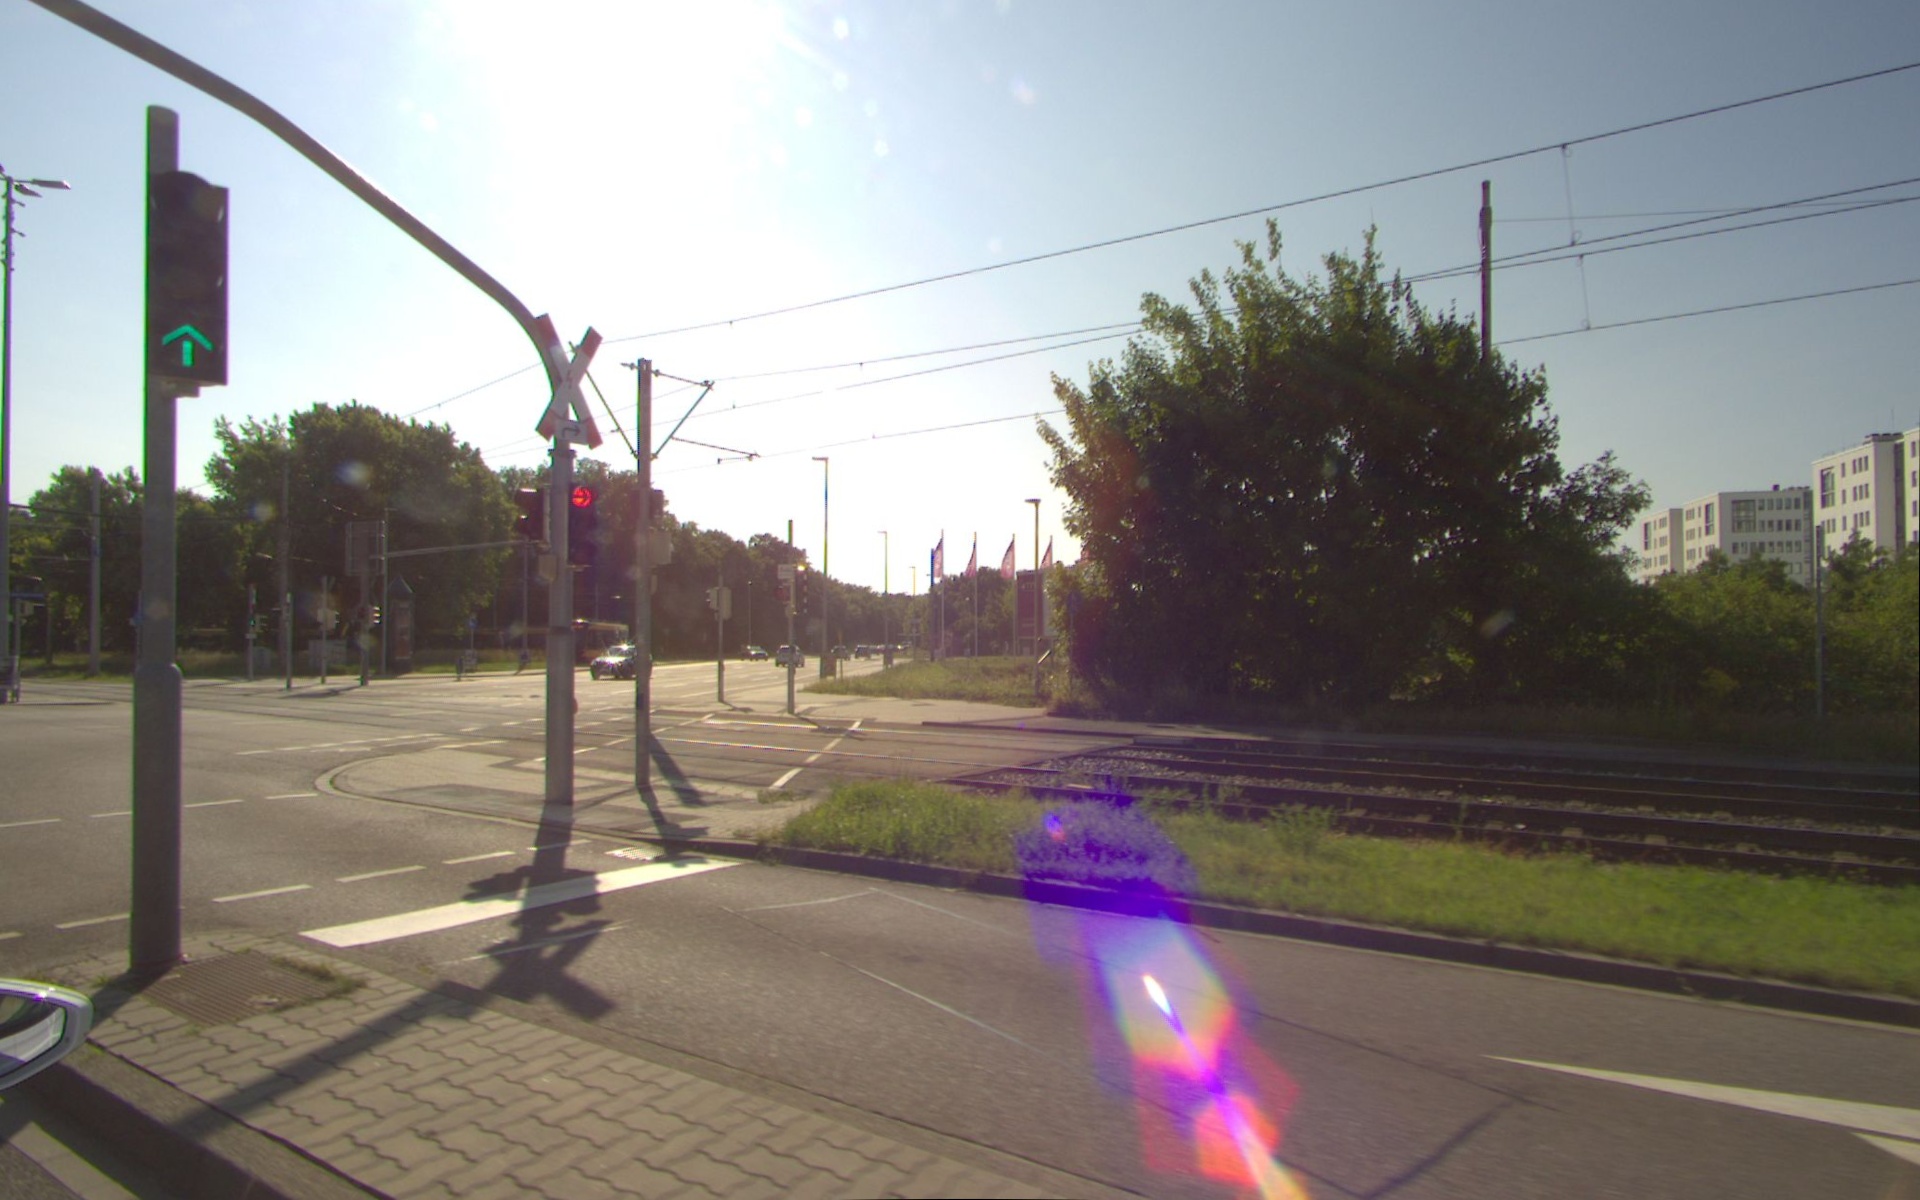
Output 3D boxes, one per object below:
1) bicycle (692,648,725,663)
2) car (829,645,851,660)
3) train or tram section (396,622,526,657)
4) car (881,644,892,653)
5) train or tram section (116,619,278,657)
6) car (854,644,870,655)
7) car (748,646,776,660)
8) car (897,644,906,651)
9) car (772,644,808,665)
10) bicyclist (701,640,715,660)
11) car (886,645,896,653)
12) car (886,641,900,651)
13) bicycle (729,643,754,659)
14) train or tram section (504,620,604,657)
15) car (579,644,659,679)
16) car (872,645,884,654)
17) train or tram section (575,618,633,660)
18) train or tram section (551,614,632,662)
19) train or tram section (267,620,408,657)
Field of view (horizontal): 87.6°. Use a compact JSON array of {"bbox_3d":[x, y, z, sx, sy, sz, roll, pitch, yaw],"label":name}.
[{"bbox_3d":[-26.023,5.728,103.584,3.167,1.472,1.131,0,-3,9],"label":"bicycle"},{"bbox_3d":[-12.538,5.475,104.664,1.575,1.401,3.531,0,-2,5],"label":"car"},{"bbox_3d":[-52.541,4.147,105.631,11.992,3.624,3.056,0,-2,-2],"label":"train or tram section"},{"bbox_3d":[-12.682,8.415,173.585,1.575,1.401,3.532,0,-2,2],"label":"car"},{"bbox_3d":[-74.858,3.762,98.662,12.256,3.624,3.041,1,-2,-28],"label":"train or tram section"},{"bbox_3d":[-12.137,6.133,124.627,1.575,1.401,3.531,0,-2,2],"label":"car"},{"bbox_3d":[-19.762,5.291,100.130,1.715,1.351,4.310,0,-2,3],"label":"car"},{"bbox_3d":[-12.942,10.482,220.848,1.575,1.401,3.532,0,-2,2],"label":"car"},{"bbox_3d":[-13.161,4.219,77.693,1.820,1.582,4.207,0,-2,3],"label":"car"},{"bbox_3d":[-26.069,5.137,103.615,1.078,2.038,1.141,0,-3,8],"label":"bicyclist"},{"bbox_3d":[-12.616,8.926,183.252,1.575,1.401,3.532,0,-2,2],"label":"car"},{"bbox_3d":[-13.551,9.290,202.783,2.397,2.103,4.790,0,-2,2],"label":"car"},{"bbox_3d":[-24.127,5.639,110.590,2.562,1.734,0.795,1,-2,-5],"label":"bicycle"},{"bbox_3d":[-41.509,3.963,102.127,12.057,3.624,3.039,-1,-2,32],"label":"train or tram section"},{"bbox_3d":[-16.657,2.980,49.153,2.004,1.582,4.864,0,-2,3],"label":"car"},{"bbox_3d":[-12.780,7.655,156.226,1.575,1.401,3.532,0,-2,2],"label":"car"},{"bbox_3d":[-33.393,3.659,93.497,3.010,3.624,12.173,1,-3,-30],"label":"train or tram section"},{"bbox_3d":[-29.902,3.123,81.979,2.995,3.624,11.857,0,-2,-4],"label":"train or tram section"},{"bbox_3d":[-64.212,4.032,103.739,12.033,3.624,3.045,1,-2,-23],"label":"train or tram section"}]
